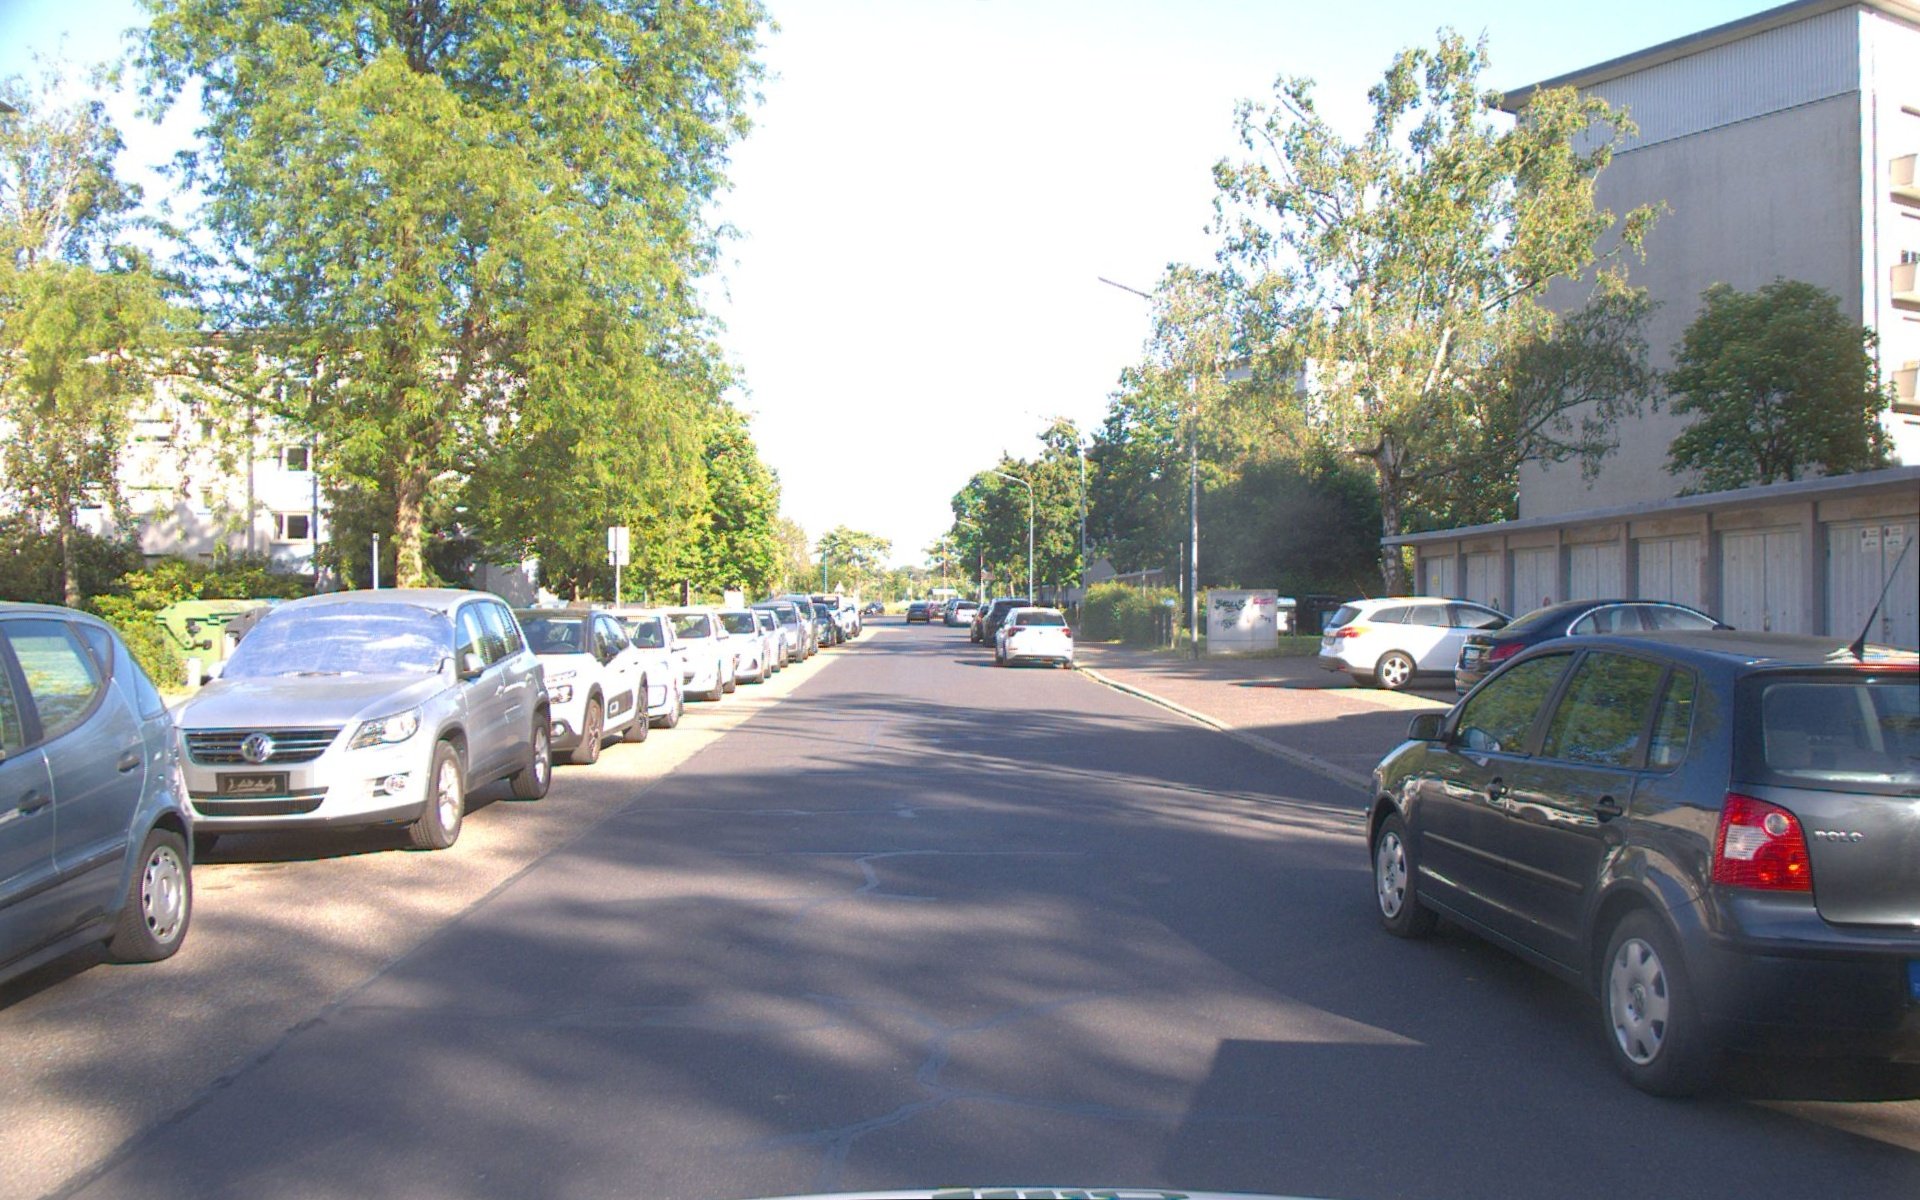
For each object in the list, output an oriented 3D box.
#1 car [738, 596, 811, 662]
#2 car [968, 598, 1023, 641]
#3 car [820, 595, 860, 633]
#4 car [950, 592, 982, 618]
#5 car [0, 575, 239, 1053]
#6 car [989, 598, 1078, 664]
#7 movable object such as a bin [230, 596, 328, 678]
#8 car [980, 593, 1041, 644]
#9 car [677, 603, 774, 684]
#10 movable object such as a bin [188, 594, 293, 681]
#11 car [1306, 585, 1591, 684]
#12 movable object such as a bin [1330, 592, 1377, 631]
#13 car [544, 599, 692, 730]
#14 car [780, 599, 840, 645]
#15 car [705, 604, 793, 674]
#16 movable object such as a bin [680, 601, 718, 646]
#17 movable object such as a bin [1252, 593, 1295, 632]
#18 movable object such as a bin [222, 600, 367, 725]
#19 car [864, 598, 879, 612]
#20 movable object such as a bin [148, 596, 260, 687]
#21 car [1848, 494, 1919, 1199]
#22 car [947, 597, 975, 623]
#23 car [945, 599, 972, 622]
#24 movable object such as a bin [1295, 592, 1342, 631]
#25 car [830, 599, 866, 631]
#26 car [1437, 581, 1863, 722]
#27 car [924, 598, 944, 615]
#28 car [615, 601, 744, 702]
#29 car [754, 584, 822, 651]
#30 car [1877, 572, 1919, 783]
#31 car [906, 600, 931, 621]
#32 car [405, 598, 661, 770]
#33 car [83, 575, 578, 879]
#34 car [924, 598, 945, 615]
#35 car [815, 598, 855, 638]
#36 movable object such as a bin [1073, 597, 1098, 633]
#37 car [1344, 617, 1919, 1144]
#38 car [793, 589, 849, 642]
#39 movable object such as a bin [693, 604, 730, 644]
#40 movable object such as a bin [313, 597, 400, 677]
[{"bbox_3d":[-5.006,0.762,44.995,1.676,1.628,3.983,-3,0,-3],"label":"car"},{"bbox_3d":[1.326,0.725,63.242,1.869,1.557,4.326,0,0,-2],"label":"car"},{"bbox_3d":[-5.776,0.675,80.075,1.711,1.762,4.004,-2,0,-2],"label":"car"},{"bbox_3d":[0.356,0.325,103.459,1.760,1.589,3.948,1,0,-4],"label":"car"},{"bbox_3d":[-4.116,0.752,5.943,1.603,1.634,3.533,-1,0,-3],"label":"car"},{"bbox_3d":[1.785,0.734,41.333,1.719,1.540,4.101,1,0,-4],"label":"car"},{"bbox_3d":[-12.646,0.671,30.749,1.153,1.445,1.462,2,0,0],"label":"movable object such as a bin"},{"bbox_3d":[1.709,0.627,57.328,1.869,1.668,4.626,0,0,-2],"label":"car"},{"bbox_3d":[-4.774,0.852,34.095,1.653,1.532,3.815,-1,0,-3],"label":"car"},{"bbox_3d":[-12.662,0.648,29.152,1.153,1.445,1.462,2,0,0],"label":"movable object such as a bin"},{"bbox_3d":[8.322,0.571,28.415,4.325,1.540,1.828,-1,0,-2],"label":"car"},{"bbox_3d":[14.070,0.419,59.136,1.233,1.376,1.275,0,0,-12],"label":"movable object such as a bin"},{"bbox_3d":[-4.422,0.781,21.785,1.631,1.540,3.531,-1,0,-8],"label":"car"},{"bbox_3d":[-5.407,0.764,60.096,1.710,1.560,4.139,-2,0,1],"label":"car"},{"bbox_3d":[-4.997,0.879,39.639,1.653,1.490,4.523,-3,0,-2],"label":"car"},{"bbox_3d":[-8.878,0.790,56.306,1.079,1.445,1.360,2,0,-1],"label":"movable object such as a bin"},{"bbox_3d":[11.024,0.438,58.250,1.229,1.376,1.278,0,0,-2],"label":"movable object such as a bin"},{"bbox_3d":[-7.980,0.723,19.903,1.113,1.407,1.441,2,0,0],"label":"movable object such as a bin"},{"bbox_3d":[-10.908,0.607,203.480,1.760,1.589,3.948,1,0,-4],"label":"car"},{"bbox_3d":[-12.624,0.671,27.671,1.153,1.445,1.462,2,0,0],"label":"movable object such as a bin"},{"bbox_3d":[2.896,0.652,2.675,1.459,1.748,2.582,1,0,-2],"label":"car"},{"bbox_3d":[0.064,0.698,119.358,1.760,1.818,3.948,1,0,-4],"label":"car"},{"bbox_3d":[-0.150,0.772,123.903,1.760,1.672,3.948,1,0,-4],"label":"car"},{"bbox_3d":[12.689,0.402,58.539,1.232,1.376,1.276,0,0,-10],"label":"movable object such as a bin"},{"bbox_3d":[-6.057,0.780,89.768,1.711,1.641,4.306,-2,0,-2],"label":"car"},{"bbox_3d":[8.314,0.601,20.205,4.421,1.540,1.828,-1,0,-1],"label":"car"},{"bbox_3d":[-2.637,0.678,165.844,1.760,1.672,3.948,1,0,-4],"label":"car"},{"bbox_3d":[-4.710,0.817,28.264,1.653,1.562,3.889,-1,0,-2],"label":"car"},{"bbox_3d":[-5.269,0.529,51.113,1.817,1.925,4.415,-2,0,-3],"label":"car"},{"bbox_3d":[8.941,0.516,11.758,3.865,1.540,1.827,-1,0,-5],"label":"car"},{"bbox_3d":[-3.190,0.774,125.958,1.646,1.540,4.101,1,0,-4],"label":"car"},{"bbox_3d":[-4.272,0.767,17.146,1.629,1.540,3.945,-1,0,-1],"label":"car"},{"bbox_3d":[-4.063,0.715,11.546,1.865,1.668,4.347,-1,0,-2],"label":"car"},{"bbox_3d":[-2.433,0.609,158.672,1.760,1.576,3.948,1,0,-4],"label":"car"},{"bbox_3d":[-5.613,0.774,74.461,1.712,1.699,4.374,-2,0,-4],"label":"car"},{"bbox_3d":[5.174,0.605,68.452,0.899,1.479,1.232,-1,0,-2],"label":"movable object such as a bin"},{"bbox_3d":[2.966,0.818,6.620,1.697,1.428,3.892,1,0,-4],"label":"car"},{"bbox_3d":[-5.536,0.581,66.223,1.876,1.997,5.086,-2,0,-1],"label":"car"},{"bbox_3d":[-8.875,0.853,59.121,1.079,1.380,1.360,2,0,-1],"label":"movable object such as a bin"},{"bbox_3d":[-11.396,0.687,31.279,1.111,1.445,1.361,2,0,0],"label":"movable object such as a bin"}]
